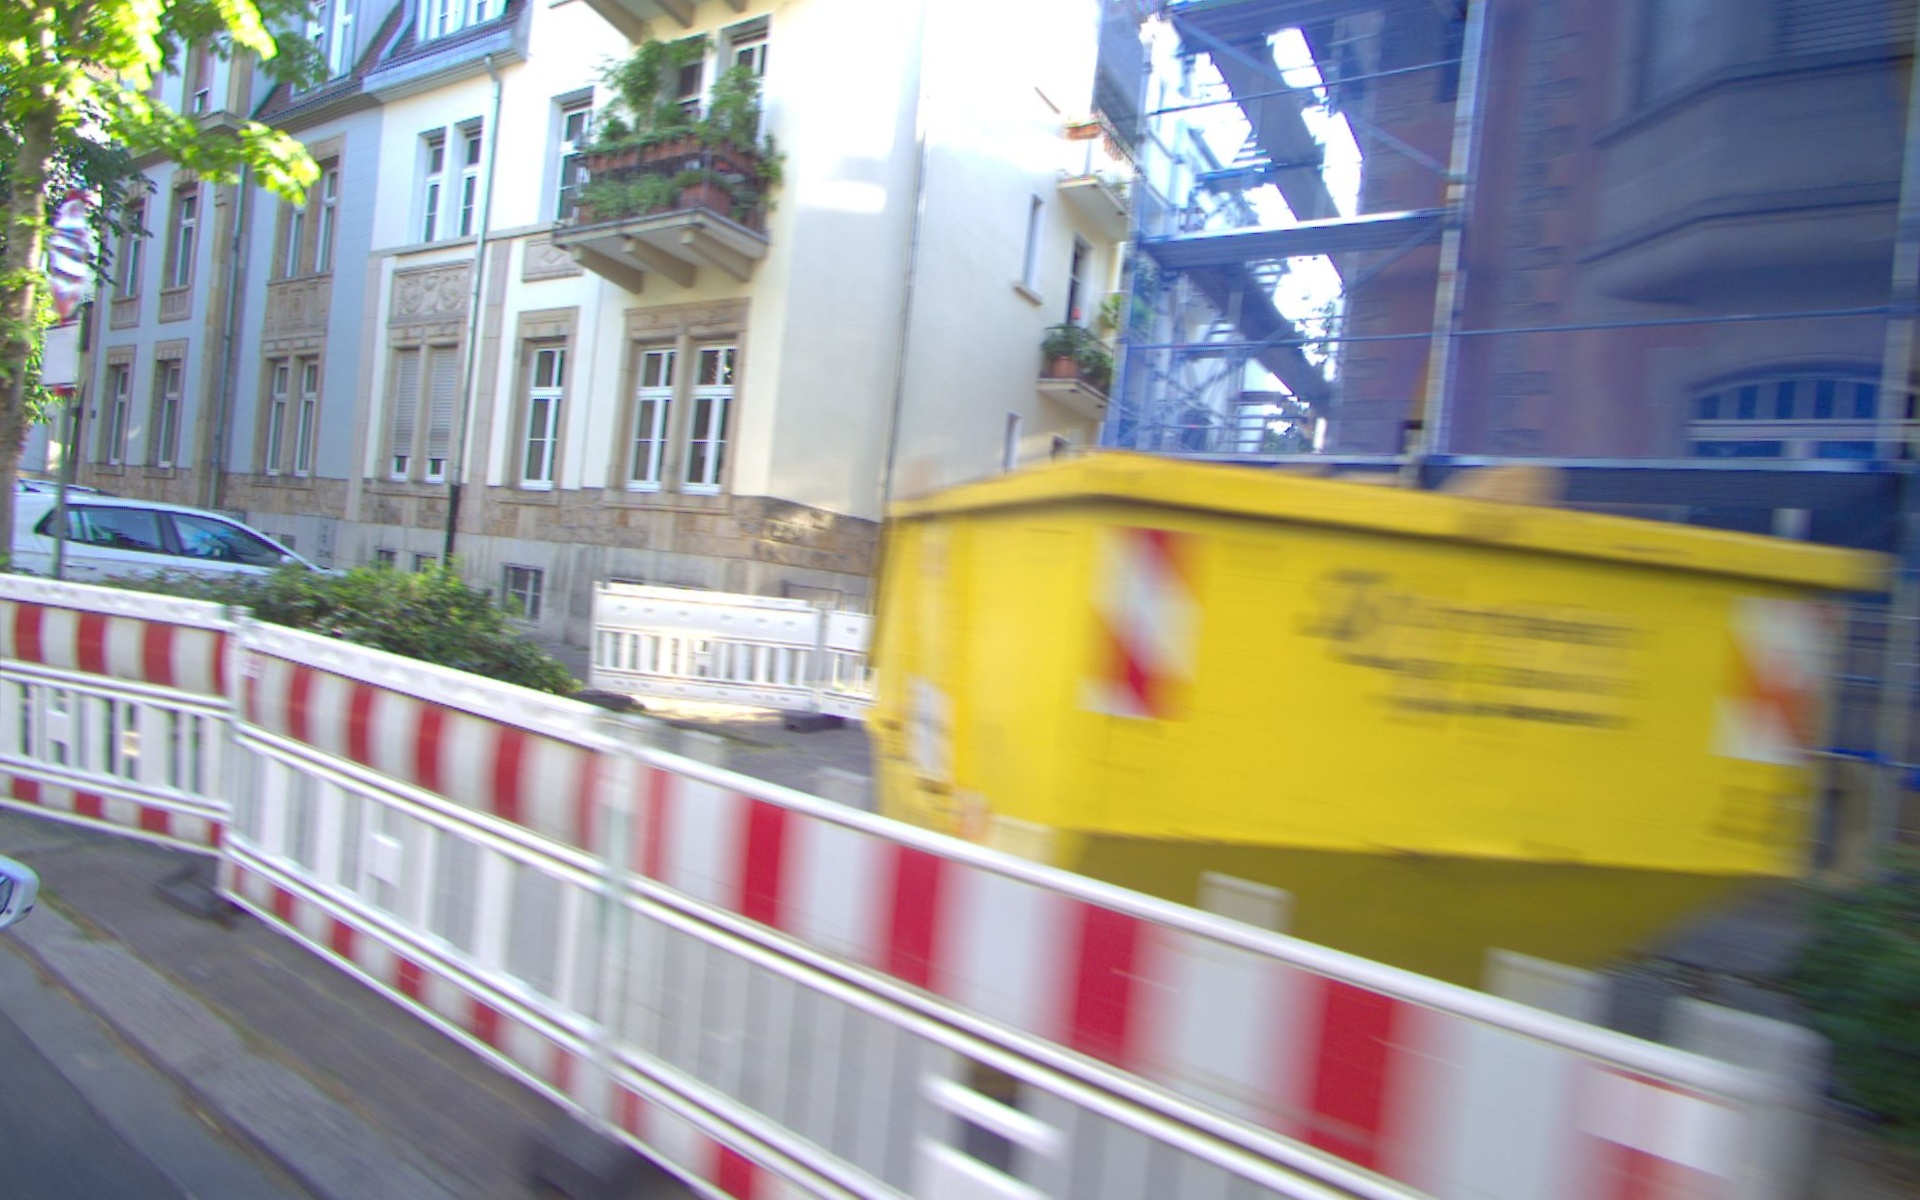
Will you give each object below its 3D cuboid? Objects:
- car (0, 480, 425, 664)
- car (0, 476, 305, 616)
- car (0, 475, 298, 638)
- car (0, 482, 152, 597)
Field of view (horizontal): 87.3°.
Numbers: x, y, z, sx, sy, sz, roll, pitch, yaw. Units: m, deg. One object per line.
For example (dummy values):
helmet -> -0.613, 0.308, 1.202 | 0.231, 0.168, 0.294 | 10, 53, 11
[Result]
car -> -7.550, -0.227, 9.675 | 1.661, 1.481, 3.849 | 7, 1, 37
car -> -11.502, -0.719, 13.340 | 1.798, 1.555, 4.316 | 7, 1, 32
car -> -9.797, -0.495, 10.777 | 1.660, 1.555, 4.144 | 7, 1, 34
car -> -13.787, -0.946, 13.851 | 1.705, 1.482, 3.749 | 7, 1, 32
